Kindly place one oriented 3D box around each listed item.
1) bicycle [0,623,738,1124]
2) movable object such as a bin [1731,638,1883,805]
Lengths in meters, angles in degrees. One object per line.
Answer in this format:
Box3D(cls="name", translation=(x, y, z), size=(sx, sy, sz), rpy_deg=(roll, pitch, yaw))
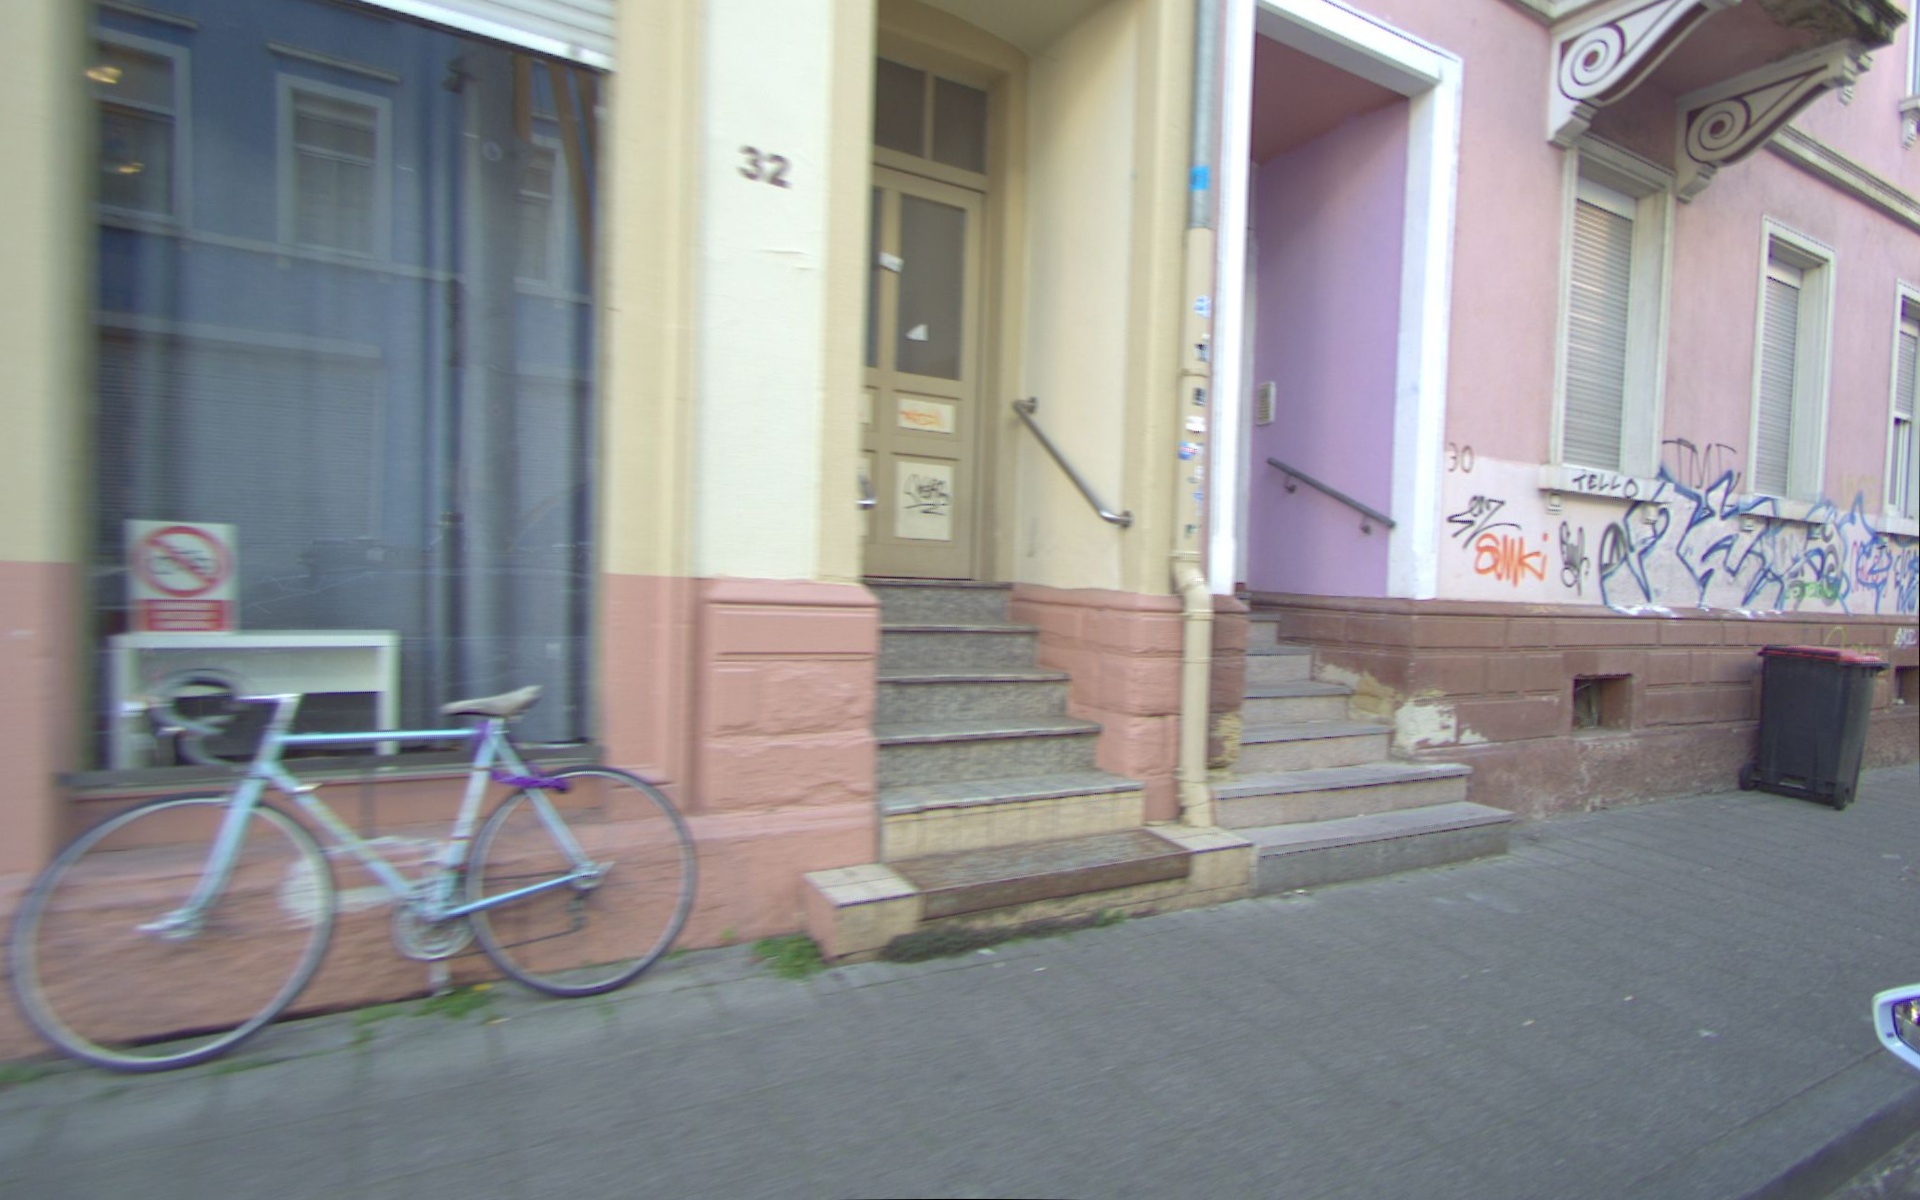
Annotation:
Box3D(cls="bicycle", translation=(-1.594, 0.608, 2.768), size=(1.797, 1.036, 0.619), rpy_deg=(1, 3, -30))
Box3D(cls="movable object such as a bin", translation=(5.878, 0.813, 6.983), size=(0.590, 1.049, 0.602), rpy_deg=(1, 2, -31))
